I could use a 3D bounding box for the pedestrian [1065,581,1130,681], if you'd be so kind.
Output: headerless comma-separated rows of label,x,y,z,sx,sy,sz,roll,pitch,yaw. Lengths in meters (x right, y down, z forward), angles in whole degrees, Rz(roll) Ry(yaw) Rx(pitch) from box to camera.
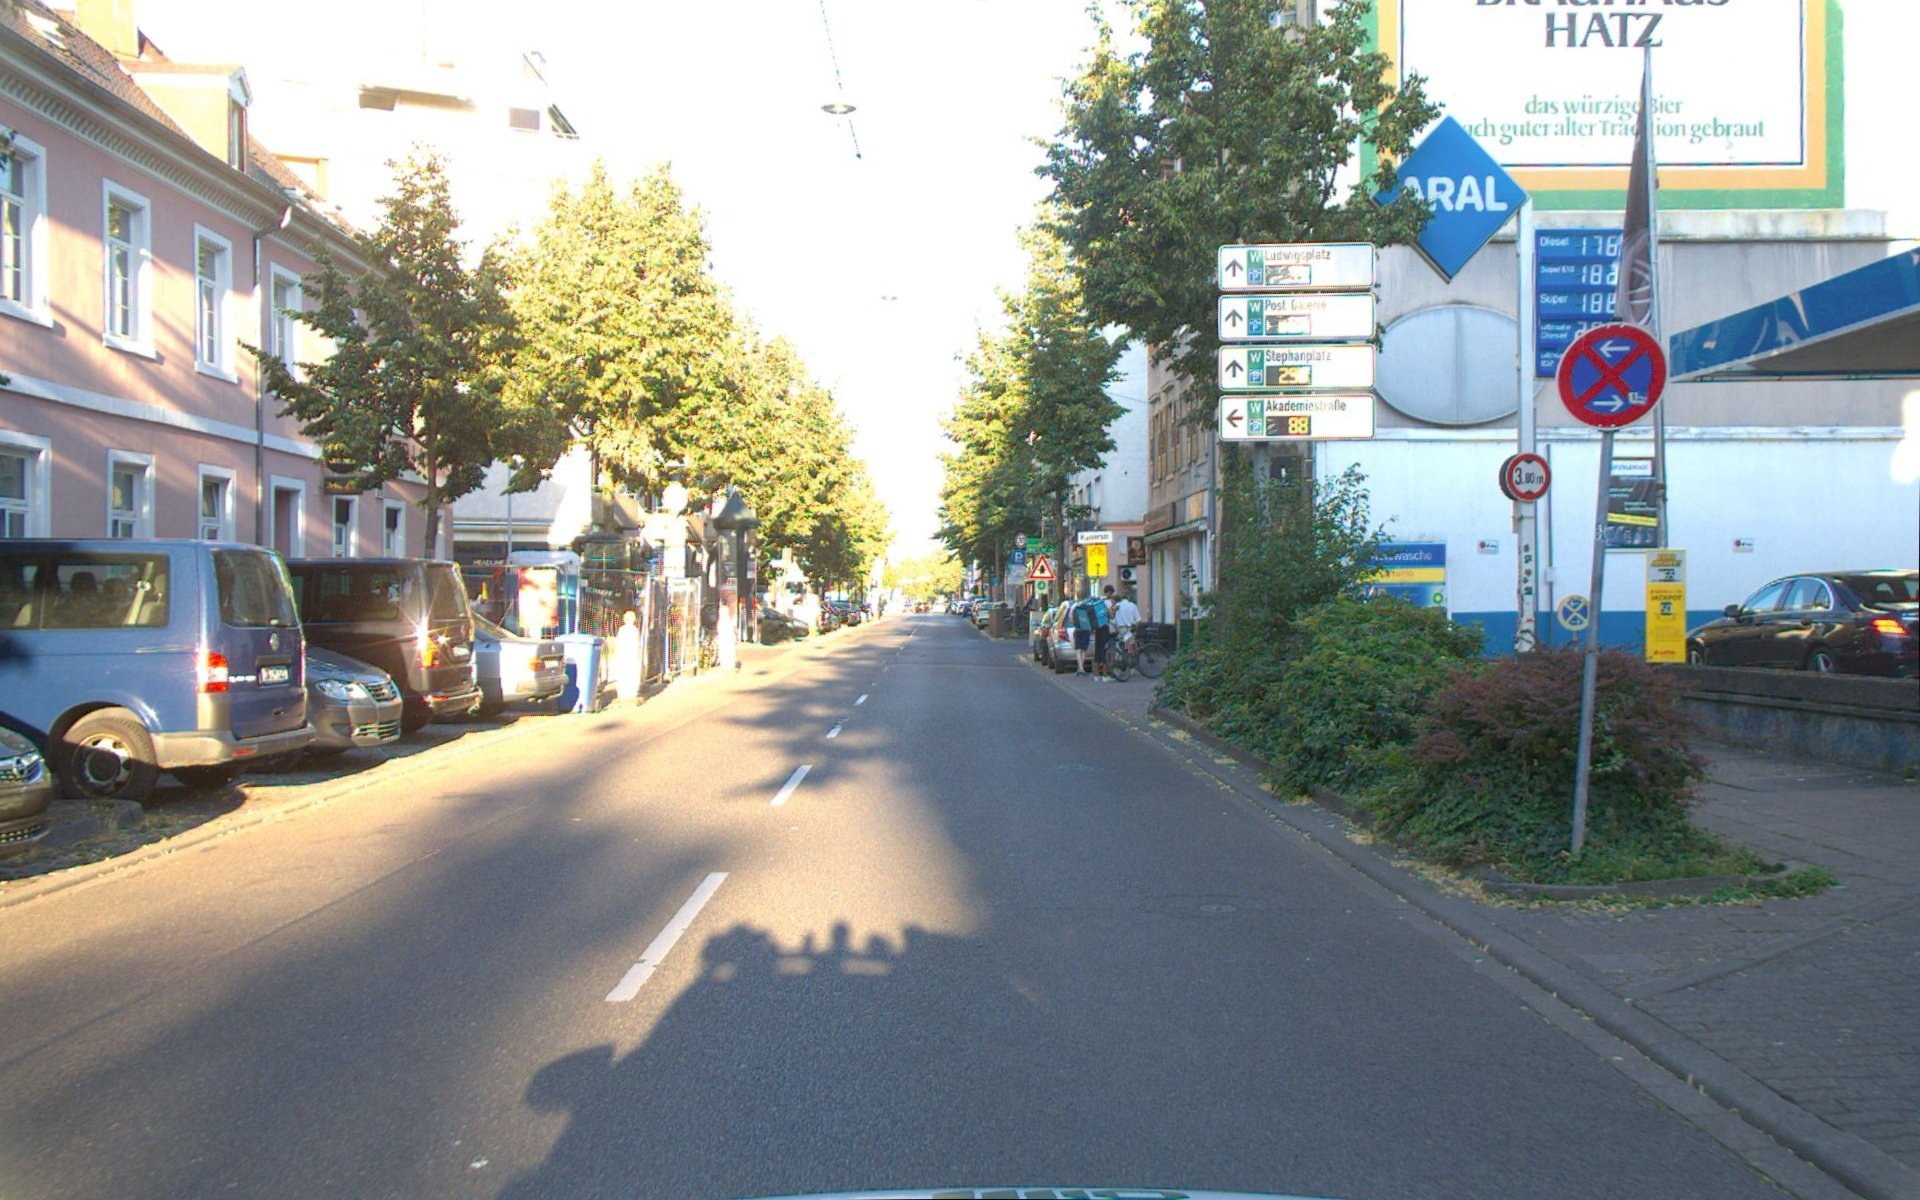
pedestrian,2.666,0.597,32.101,0.995,1.857,0.778,-3,0,-11

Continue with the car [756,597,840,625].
car,-8.818,0.583,90.323,4.351,1.484,1.859,0,0,0

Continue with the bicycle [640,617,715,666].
bicycle,-6.701,0.987,39.264,1.649,1.097,0.444,2,-1,-2

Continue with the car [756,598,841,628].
car,-8.574,0.694,88.021,4.351,1.510,1.809,0,0,0

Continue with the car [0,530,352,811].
car,-7.319,0.500,12.877,4.392,2.010,2.068,0,0,0

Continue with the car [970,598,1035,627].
car,2.442,0.686,94.383,1.645,1.616,3.801,0,0,42

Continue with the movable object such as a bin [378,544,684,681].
movable object such as a bin,-8.560,0.217,33.468,2.273,2.539,5.720,0,0,42

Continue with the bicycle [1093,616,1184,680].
bicycle,3.471,0.928,32.067,0.850,1.118,1.918,-2,1,38

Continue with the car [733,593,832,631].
car,-8.370,0.559,78.334,4.478,1.727,2.060,0,0,0

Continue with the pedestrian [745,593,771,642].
pedestrian,-7.095,0.617,58.090,0.695,1.716,0.834,0,0,8

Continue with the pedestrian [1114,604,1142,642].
pedestrian,5.216,0.730,51.454,0.668,1.161,1.360,-2,-2,-1

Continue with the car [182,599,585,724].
car,-7.325,0.749,21.310,4.499,1.495,1.893,0,0,2

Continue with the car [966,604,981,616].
car,1.424,1.050,173.998,1.482,1.298,3.303,0,0,0

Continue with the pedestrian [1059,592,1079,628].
pedestrian,4.991,0.449,75.634,0.779,1.654,0.913,0,0,12

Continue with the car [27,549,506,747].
car,-7.441,0.494,18.124,4.394,2.010,1.964,1,0,-3

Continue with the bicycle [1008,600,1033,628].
bicycle,2.615,0.590,71.153,0.585,1.198,1.847,0,0,18

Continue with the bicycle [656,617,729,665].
bicycle,-6.538,1.009,40.445,1.647,1.097,0.445,2,-1,7

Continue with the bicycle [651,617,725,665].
bicycle,-6.554,0.991,39.858,1.647,1.097,0.445,2,-1,7

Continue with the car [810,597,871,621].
car,-8.941,0.662,123.917,4.351,1.790,1.919,0,0,0

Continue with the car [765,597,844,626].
car,-8.950,0.668,95.307,4.351,1.595,1.919,0,0,0

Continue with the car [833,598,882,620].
car,-9.383,0.826,151.220,4.351,1.994,1.919,0,0,0

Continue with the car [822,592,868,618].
car,-11.181,0.512,161.180,4.351,2.477,1.919,0,0,0

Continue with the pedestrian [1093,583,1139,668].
pedestrian,3.314,0.539,35.158,0.666,1.735,0.822,-3,0,-15

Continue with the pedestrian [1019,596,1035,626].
pedestrian,3.152,0.509,77.861,0.711,1.402,0.781,0,0,-1

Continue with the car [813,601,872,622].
car,-9.003,0.875,127.035,4.351,1.525,1.919,0,0,0

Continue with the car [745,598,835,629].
car,-8.538,0.668,83.452,4.351,1.533,1.844,0,0,0

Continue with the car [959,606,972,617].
car,0.679,1.302,192.140,1.482,1.285,3.303,0,0,0

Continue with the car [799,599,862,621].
car,-9.171,0.709,117.412,4.351,1.549,1.919,0,0,0

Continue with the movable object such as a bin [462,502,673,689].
movable object such as a bin,-6.820,-0.084,29.453,2.571,3.021,5.302,0,0,-1

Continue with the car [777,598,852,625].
car,-8.788,0.699,99.956,4.351,1.595,1.919,0,0,0

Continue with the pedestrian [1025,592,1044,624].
pedestrian,4.561,0.483,100.971,0.900,1.959,1.015,1,0,-11

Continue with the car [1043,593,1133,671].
car,2.896,0.693,38.030,1.652,1.602,4.012,-3,0,-1

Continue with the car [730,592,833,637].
car,-8.131,0.656,75.675,4.479,1.996,1.990,0,0,-1

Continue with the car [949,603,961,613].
car,-0.687,1.087,214.858,1.482,1.321,3.303,0,0,0

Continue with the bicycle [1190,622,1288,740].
bicycle,3.069,0.860,18.085,0.473,1.163,1.678,-3,0,29

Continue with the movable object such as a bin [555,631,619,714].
movable object such as a bin,-5.259,1.012,23.368,0.675,1.124,0.883,-1,0,1

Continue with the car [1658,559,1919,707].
car,9.935,0.350,18.956,1.699,1.456,4.907,-2,-1,-1

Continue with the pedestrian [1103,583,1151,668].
pedestrian,3.483,0.533,34.552,0.648,1.730,0.657,-3,0,-45

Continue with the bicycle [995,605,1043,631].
bicycle,2.493,0.763,69.690,1.918,1.092,0.704,0,0,31

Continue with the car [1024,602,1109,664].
car,2.669,0.803,42.454,1.749,1.399,4.522,-3,0,-1

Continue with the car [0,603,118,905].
car,-7.055,0.770,8.728,4.242,1.527,1.840,1,0,-6

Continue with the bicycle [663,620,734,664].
bicycle,-6.512,1.046,41.168,1.647,1.039,0.445,2,-1,7

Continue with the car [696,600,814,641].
car,-8.042,0.804,65.302,4.455,1.568,1.810,0,0,-2

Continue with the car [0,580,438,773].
car,-7.240,0.670,15.544,4.045,1.665,1.860,1,0,0

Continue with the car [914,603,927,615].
car,-5.514,1.281,230.898,1.716,1.567,3.303,-1,0,0

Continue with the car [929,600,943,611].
car,-3.200,0.754,219.746,1.685,1.501,3.303,-1,0,0

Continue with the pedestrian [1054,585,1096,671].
pedestrian,2.434,0.592,34.975,0.665,1.785,0.823,-1,0,-11
